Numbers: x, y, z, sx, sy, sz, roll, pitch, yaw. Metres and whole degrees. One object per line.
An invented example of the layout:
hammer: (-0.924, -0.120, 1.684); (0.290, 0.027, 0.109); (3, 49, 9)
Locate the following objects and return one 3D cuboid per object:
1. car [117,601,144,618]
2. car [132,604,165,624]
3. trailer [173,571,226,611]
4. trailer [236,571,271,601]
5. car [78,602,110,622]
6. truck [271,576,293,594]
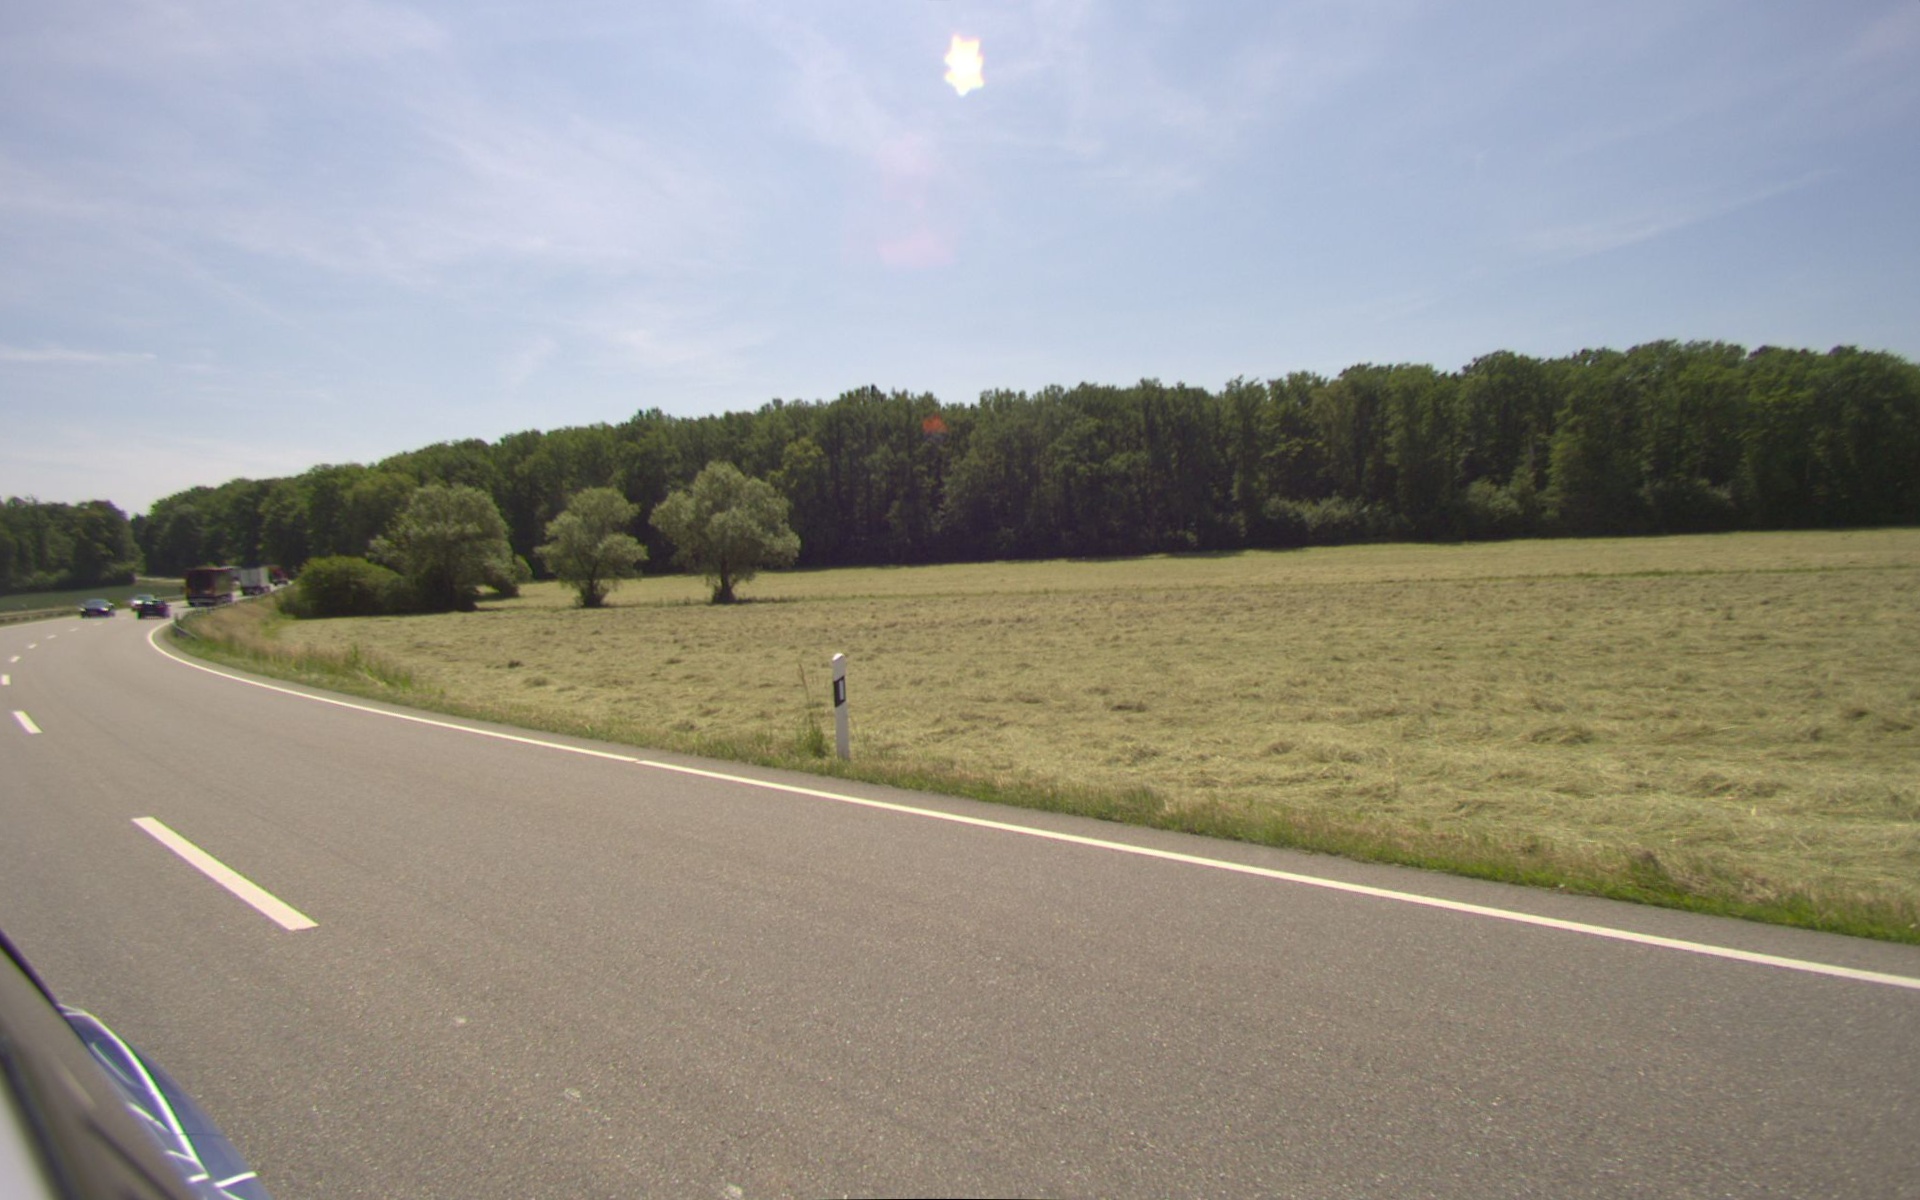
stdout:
car: (-80.062, 0.911, 97.706); (1.595, 1.447, 3.453); (-2, 2, -32)
car: (-63.624, 1.073, 79.418); (1.677, 1.480, 4.211); (0, 0, -34)
trailer: (-85.547, -1.026, 114.123); (3.196, 4.181, 14.487); (0, 0, -31)
trailer: (-108.481, -2.168, 155.493); (3.327, 4.434, 13.788); (0, 1, -31)
car: (-69.850, 0.929, 81.641); (1.596, 1.447, 3.452); (-2, 2, -35)
truck: (-141.051, -3.202, 210.693); (2.665, 3.677, 10.133); (-2, 2, -28)
